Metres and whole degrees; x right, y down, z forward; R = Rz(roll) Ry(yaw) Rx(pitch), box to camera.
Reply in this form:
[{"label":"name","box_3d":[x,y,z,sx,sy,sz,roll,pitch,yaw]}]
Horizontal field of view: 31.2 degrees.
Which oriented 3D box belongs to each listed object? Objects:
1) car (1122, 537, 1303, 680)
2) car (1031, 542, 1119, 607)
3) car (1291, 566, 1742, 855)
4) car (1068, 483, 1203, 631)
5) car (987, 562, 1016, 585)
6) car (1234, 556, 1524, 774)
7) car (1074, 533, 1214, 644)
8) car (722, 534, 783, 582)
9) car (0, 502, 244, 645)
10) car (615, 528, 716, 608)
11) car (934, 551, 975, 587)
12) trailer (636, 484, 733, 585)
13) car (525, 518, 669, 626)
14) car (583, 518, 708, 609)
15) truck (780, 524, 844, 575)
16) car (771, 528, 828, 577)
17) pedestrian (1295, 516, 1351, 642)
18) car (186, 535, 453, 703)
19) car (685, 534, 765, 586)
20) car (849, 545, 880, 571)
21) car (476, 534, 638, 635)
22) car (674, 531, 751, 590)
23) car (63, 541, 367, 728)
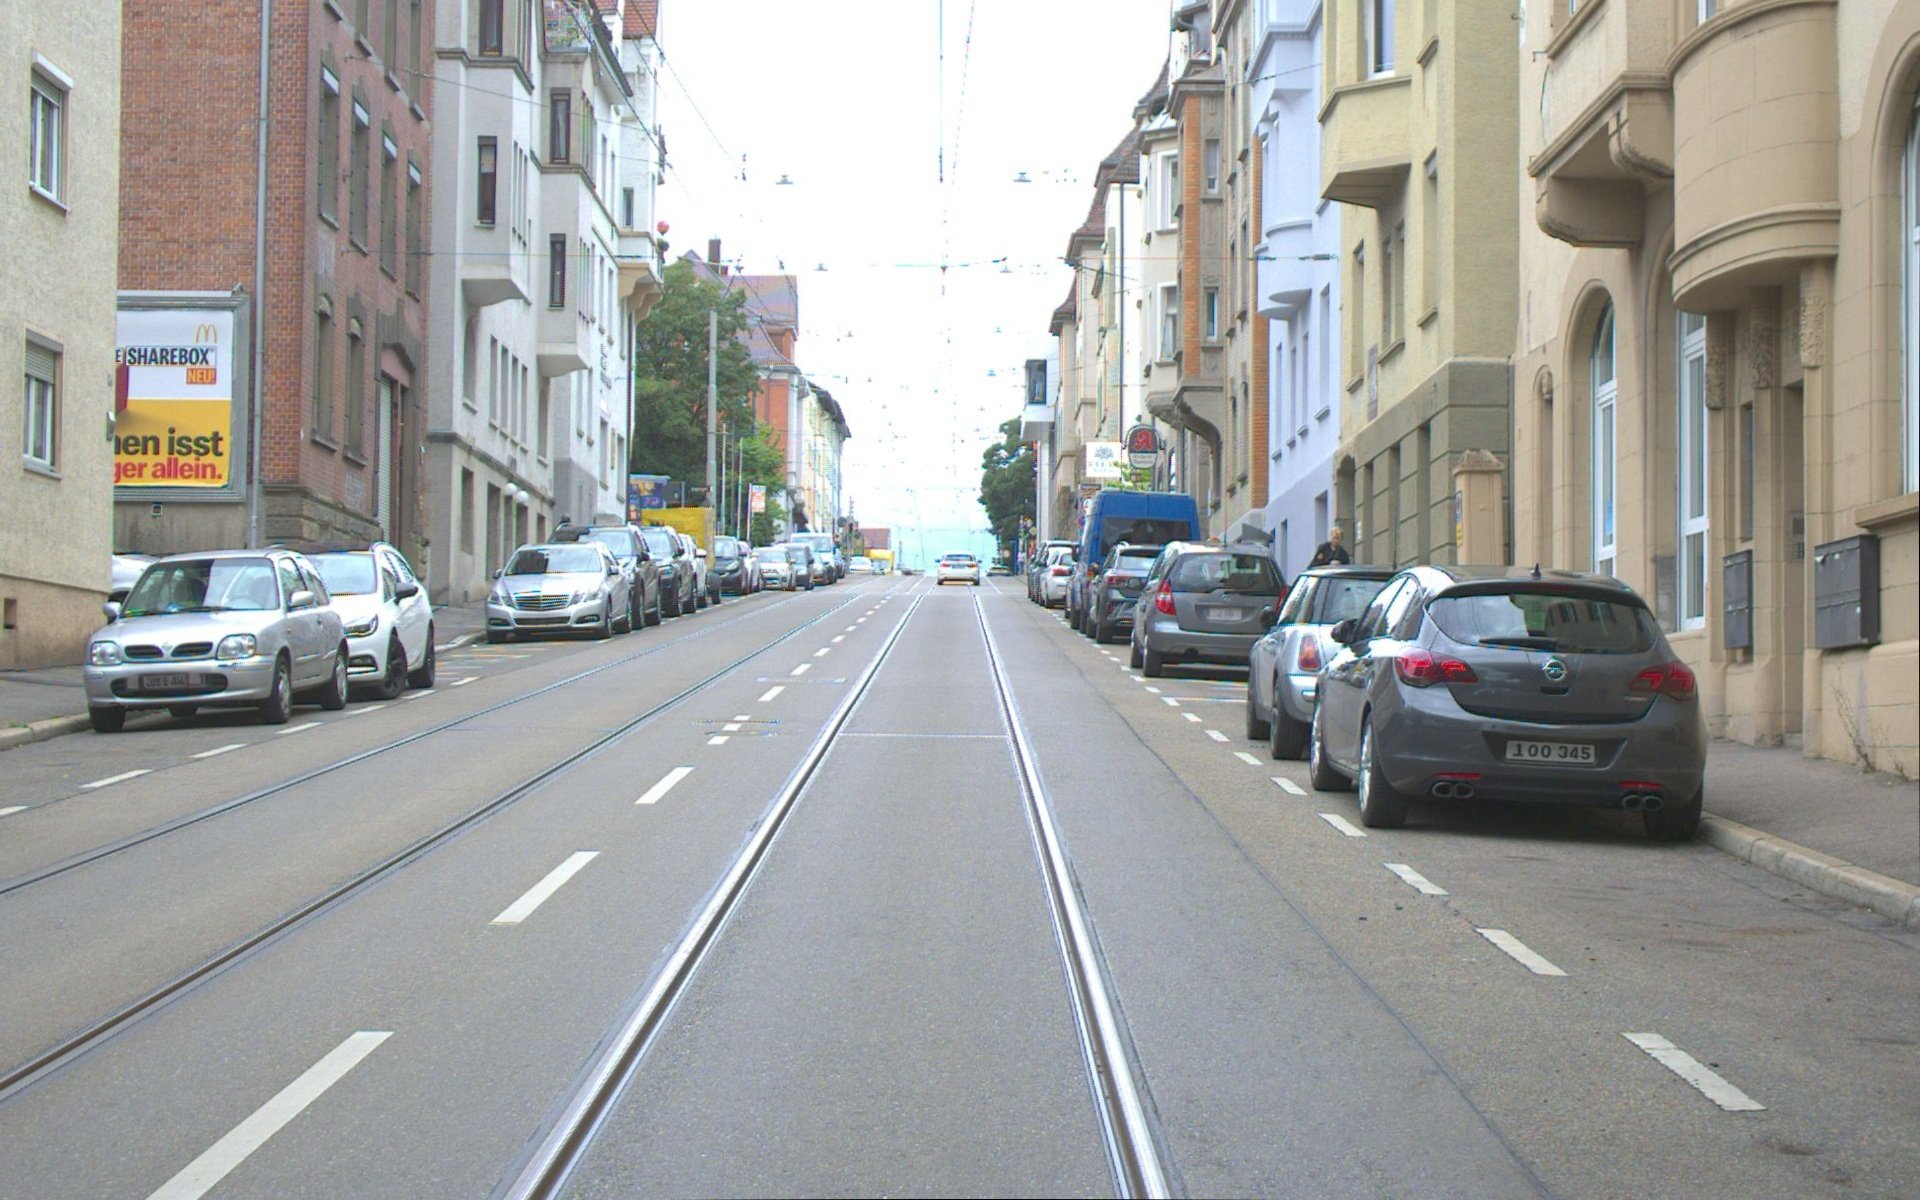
[{"label":"car","box_3d":[2.975,0.062,41.232,1.827,1.513,4.028,3,1,1]},{"label":"car","box_3d":[2.662,-0.609,80.497,1.750,1.386,4.308,3,1,-1]},{"label":"car","box_3d":[3.053,0.551,19.696,1.839,1.398,4.167,3,0,0]},{"label":"car","box_3d":[2.949,-0.721,58.674,1.993,2.368,5.056,1,0,0]},{"label":"car","box_3d":[2.871,-1.830,238.468,1.993,1.558,4.290,1,1,1]},{"label":"car","box_3d":[3.078,0.430,25.866,1.695,1.399,3.667,3,1,1]},{"label":"car","box_3d":[2.811,-0.196,53.312,1.779,1.525,4.192,4,1,-1]},{"label":"car","box_3d":[-6.987,-1.416,116.009,1.697,1.550,3.850,1,1,2]},{"label":"car","box_3d":[-12.389,-0.339,46.173,5.173,1.812,1.941,-1,1,-4]},{"label":"car","box_3d":[-6.170,-0.701,72.430,1.697,1.588,4.268,-1,1,1]},{"label":"car","box_3d":[-0.261,-1.346,148.919,1.672,1.508,3.798,1,1,-1]},{"label":"trailer","box_3d":[-6.107,-1.462,76.598,1.748,2.148,4.071,-1,1,1]},{"label":"car","box_3d":[-6.082,-0.512,58.072,1.827,1.712,4.913,-1,1,1]},{"label":"car","box_3d":[-6.042,-0.733,66.524,1.873,1.658,4.892,-1,1,1]},{"label":"truck","box_3d":[-6.521,-2.238,152.117,2.280,2.180,8.025,1,1,1]},{"label":"car","box_3d":[-5.905,-1.760,127.179,1.744,1.730,4.519,-1,1,2]},{"label":"pedestrian","box_3d":[4.967,-0.286,47.014,0.540,1.676,0.516,-3,-2,-8]},{"label":"car","box_3d":[-6.142,0.129,33.439,1.827,1.424,4.628,-3,1,-2]},{"label":"car","box_3d":[-6.364,-1.095,93.437,1.780,1.353,4.291,1,1,1]},{"label":"car","box_3d":[-6.140,-2.707,220.419,1.855,1.601,4.297,1,1,0]},{"label":"car","box_3d":[-6.097,-0.273,52.510,1.827,1.424,4.839,-1,1,1]},{"label":"car","box_3d":[-6.342,-1.018,88.337,1.697,1.463,3.023,-1,1,1]},{"label":"car","box_3d":[-6.154,0.236,28.787,1.600,1.363,3.807,-3,1,1]}]
